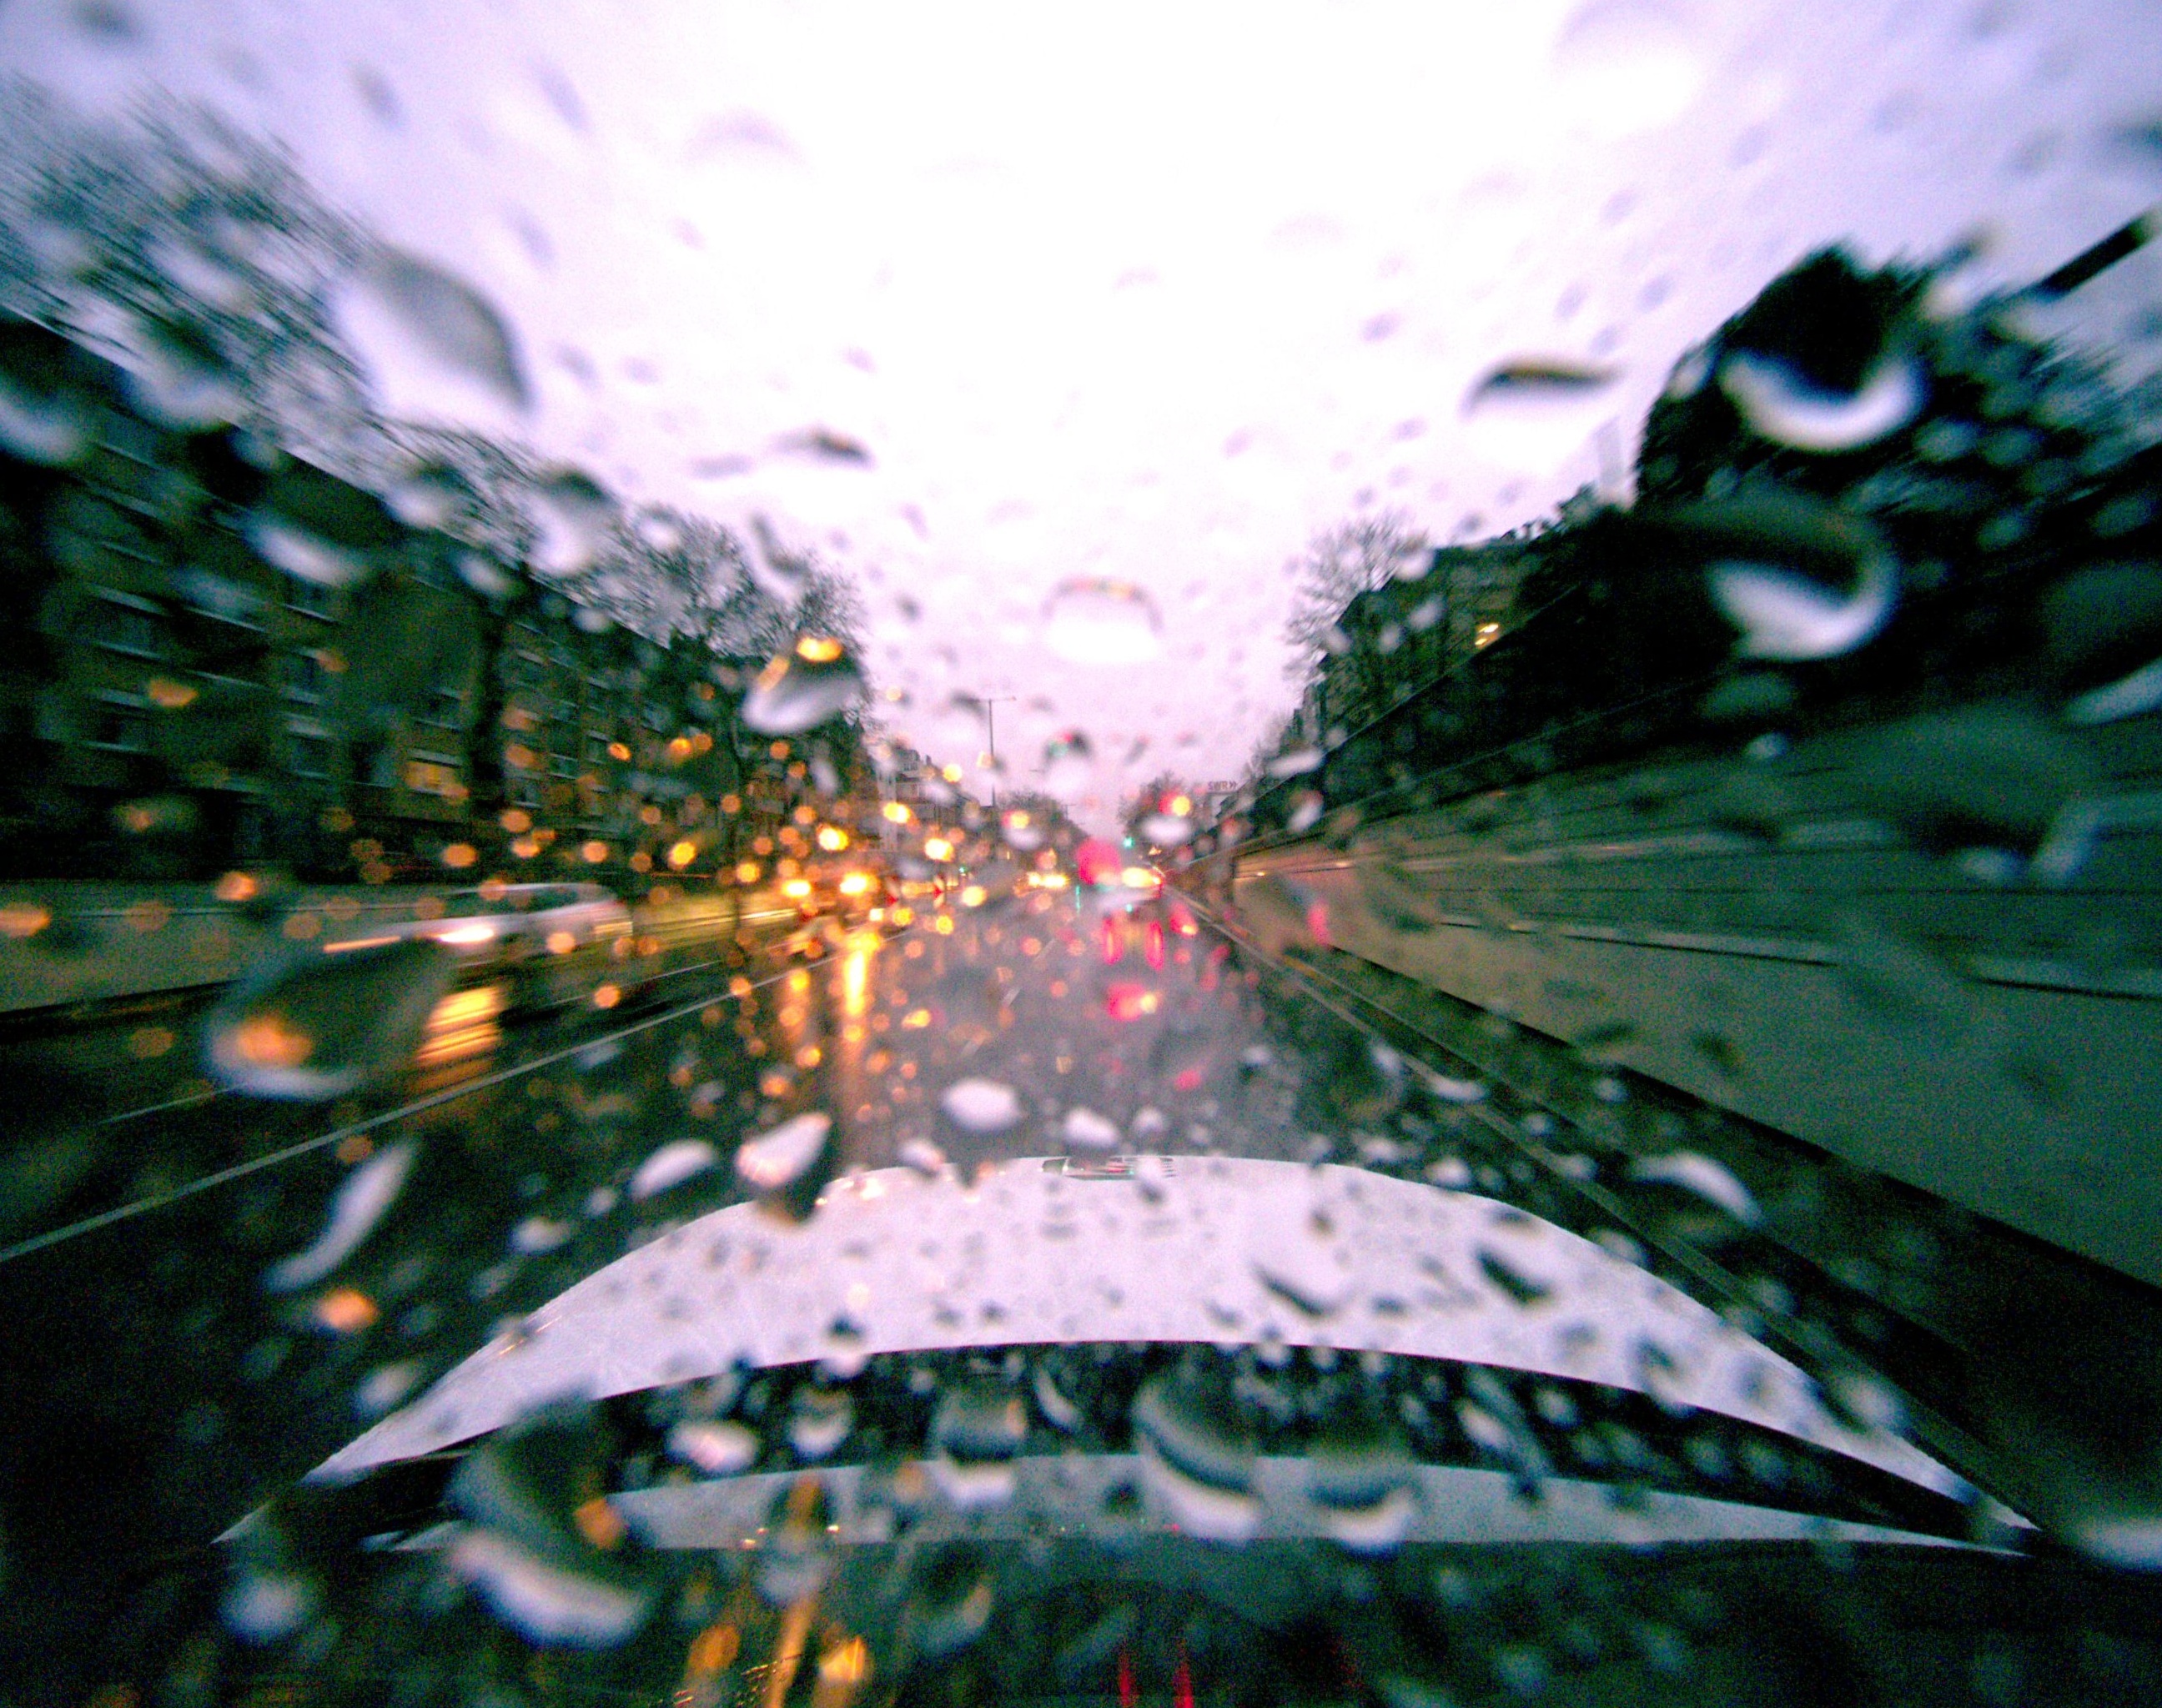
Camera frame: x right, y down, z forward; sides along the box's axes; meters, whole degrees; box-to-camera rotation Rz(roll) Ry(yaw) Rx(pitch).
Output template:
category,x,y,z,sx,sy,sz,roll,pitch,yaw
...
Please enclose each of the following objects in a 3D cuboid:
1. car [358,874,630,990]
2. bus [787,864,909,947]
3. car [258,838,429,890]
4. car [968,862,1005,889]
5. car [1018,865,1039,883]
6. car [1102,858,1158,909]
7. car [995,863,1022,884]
category,x,y,z,sx,sy,sz,roll,pitch,yaw
car,-9.838,1.214,14.090,1.667,1.491,3.876,-4,0,2
bus,-6.579,1.369,23.647,1.667,1.965,5.178,-5,-1,2
car,-20.729,0.310,23.096,1.435,1.272,3.588,-4,-2,2
car,-5.759,1.303,50.021,1.602,1.383,3.697,-4,0,2
car,-4.745,1.794,73.809,1.491,1.383,3.435,-4,0,1
car,1.461,0.874,24.662,1.525,1.397,3.435,-1,-2,3
car,-5.514,1.463,62.440,1.490,1.383,3.436,-4,0,2
